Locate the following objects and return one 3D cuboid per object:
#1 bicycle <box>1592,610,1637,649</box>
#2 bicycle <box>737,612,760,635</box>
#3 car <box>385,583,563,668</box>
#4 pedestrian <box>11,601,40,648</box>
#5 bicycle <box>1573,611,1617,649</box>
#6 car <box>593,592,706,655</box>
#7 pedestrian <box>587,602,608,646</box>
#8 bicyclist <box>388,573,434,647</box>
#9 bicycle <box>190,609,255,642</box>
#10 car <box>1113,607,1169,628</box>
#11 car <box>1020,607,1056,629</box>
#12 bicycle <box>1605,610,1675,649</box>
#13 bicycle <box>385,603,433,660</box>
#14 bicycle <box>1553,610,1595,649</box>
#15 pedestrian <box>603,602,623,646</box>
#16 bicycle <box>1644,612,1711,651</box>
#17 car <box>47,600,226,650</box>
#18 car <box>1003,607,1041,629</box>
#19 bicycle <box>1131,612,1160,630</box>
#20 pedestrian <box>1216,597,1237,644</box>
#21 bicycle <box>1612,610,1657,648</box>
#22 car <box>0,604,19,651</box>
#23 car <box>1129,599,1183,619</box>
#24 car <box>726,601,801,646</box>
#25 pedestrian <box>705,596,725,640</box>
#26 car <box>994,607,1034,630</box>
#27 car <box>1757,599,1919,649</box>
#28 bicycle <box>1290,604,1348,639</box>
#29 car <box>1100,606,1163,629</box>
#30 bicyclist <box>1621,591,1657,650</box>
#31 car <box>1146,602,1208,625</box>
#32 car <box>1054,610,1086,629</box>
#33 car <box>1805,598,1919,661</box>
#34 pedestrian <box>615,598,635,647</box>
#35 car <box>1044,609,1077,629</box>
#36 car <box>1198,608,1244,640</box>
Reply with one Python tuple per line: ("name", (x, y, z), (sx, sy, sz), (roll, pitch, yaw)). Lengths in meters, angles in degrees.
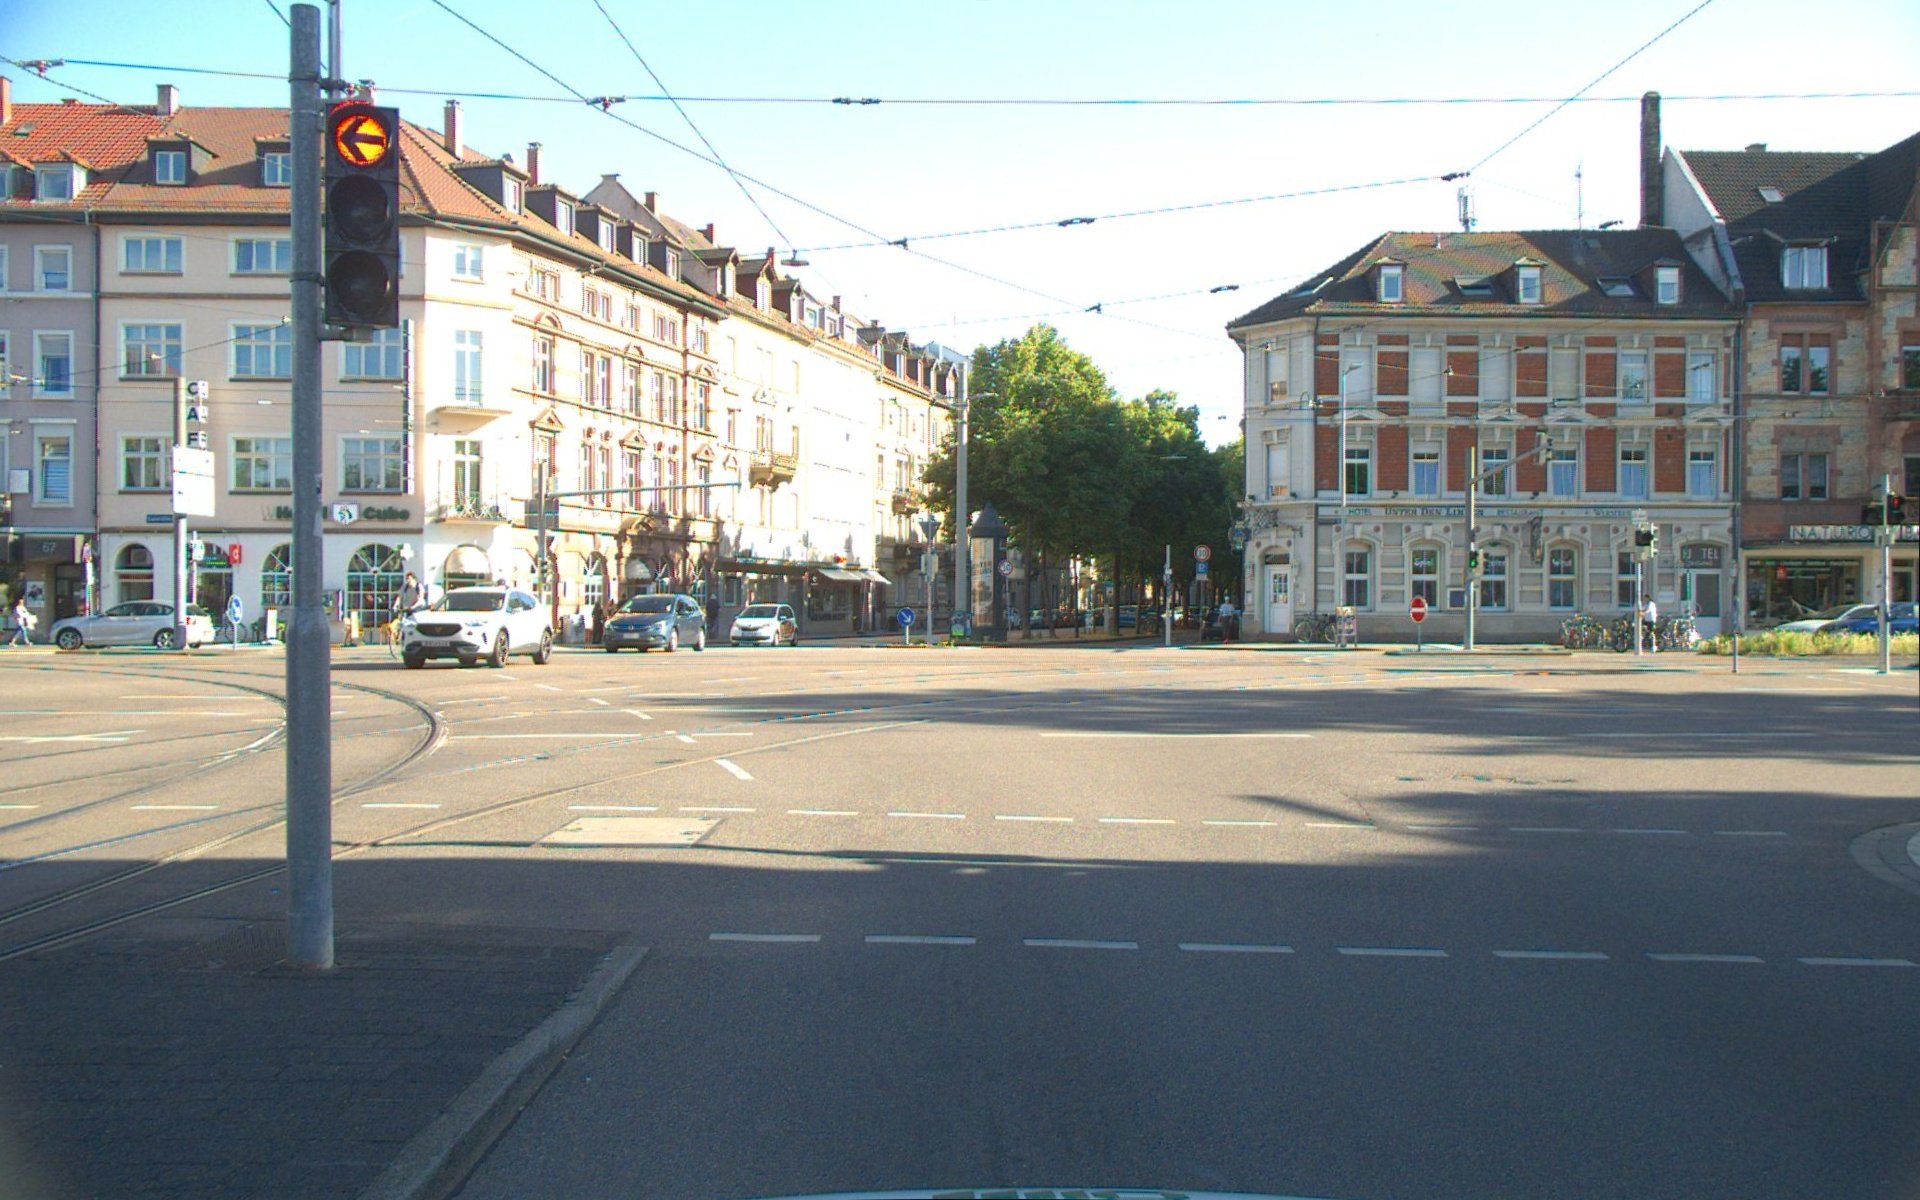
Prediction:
("bicycle", (21.153, 0.939, 53.489), (0.663, 1.211, 1.967), (0, 0, 0))
("bicycle", (-10.139, 1.128, 79.372), (0.484, 1.086, 1.771), (0, 0, 15))
("car", (-9.211, 0.445, 31.718), (1.952, 1.523, 4.349), (0, 0, 3))
("pedestrian", (-31.361, 0.811, 55.526), (0.645, 1.551, 0.694), (0, 0, -8))
("bicycle", (20.515, 0.957, 53.479), (0.663, 1.211, 1.967), (0, 0, 0))
("car", (-7.900, 0.567, 42.533), (1.736, 1.523, 4.576), (0, 0, 4))
("pedestrian", (-13.864, 0.904, 63.281), (0.613, 1.670, 0.538), (0, 0, 12))
("bicyclist", (-11.947, 0.222, 36.020), (0.700, 1.587, 0.986), (0, 0, -3))
("bicycle", (-25.052, 0.855, 56.217), (1.906, 1.086, 0.582), (0, 0, -8))
("car", (14.060, 1.323, 128.491), (3.910, 1.572, 1.998), (0, 0, 28))
("car", (5.786, 1.311, 122.656), (1.951, 1.523, 4.037), (0, 0, 13))
("bicycle", (21.056, 0.905, 51.231), (1.920, 1.211, 0.602), (0, 0, 2))
("bicycle", (-11.957, 0.668, 35.933), (0.475, 1.186, 2.055), (0, 0, -3))
("bicycle", (19.826, 0.929, 53.442), (0.663, 1.211, 1.967), (0, 0, 0))
("pedestrian", (-13.169, 0.909, 62.766), (0.539, 1.670, 0.633), (0, 0, 16))
("bicycle", (23.037, 1.004, 53.112), (1.926, 1.211, 0.677), (0, 0, -13))
("car", (-23.391, 0.704, 47.113), (4.127, 1.379, 1.997), (0, 0, -7))
("car", (4.441, 1.262, 117.400), (1.951, 1.523, 4.037), (0, 0, 13))
("bicycle", (11.156, 1.268, 99.392), (0.577, 1.086, 1.924), (0, 0, -37))
("pedestrian", (9.833, 0.753, 60.999), (0.700, 1.698, 0.940), (0, 0, 11))
("bicycle", (21.815, 0.923, 53.492), (0.663, 1.211, 1.967), (0, 0, 0))
("car", (-32.484, 0.869, 52.136), (4.547, 1.465, 1.743), (0, -1, -4))
("car", (15.929, 0.721, 134.400), (3.910, 1.572, 1.998), (0, 0, 28))
("car", (-6.841, 0.791, 57.819), (1.681, 1.523, 3.587), (0, 0, 9))
("pedestrian", (-10.884, 0.813, 73.421), (0.667, 1.942, 0.633), (0, 0, 15))
("car", (3.695, 1.230, 112.902), (1.951, 1.523, 4.037), (0, 0, 13))
("car", (25.961, 0.707, 48.938), (3.906, 1.437, 1.845), (0, 0, -2))
("bicycle", (12.452, 0.739, 57.346), (1.919, 1.211, 0.546), (0, 0, 4))
("car", (12.024, 1.211, 115.821), (3.910, 1.572, 1.998), (0, 0, 28))
("bicyclist", (21.029, 0.632, 51.232), (0.854, 1.795, 0.602), (0, 0, 2))
("car", (15.298, 0.952, 116.771), (3.913, 1.572, 1.996), (0, 0, 30))
("car", (9.104, 1.611, 136.638), (1.951, 1.523, 4.037), (0, 0, 13))
("car", (25.909, 0.796, 45.942), (3.906, 1.697, 1.954), (0, 0, -2))
("pedestrian", (-12.954, 0.865, 63.973), (0.567, 1.868, 0.633), (0, 0, 15))
("car", (8.005, 1.497, 131.891), (1.951, 1.523, 4.037), (0, 0, 13))
("car", (13.066, 1.164, 82.588), (1.951, 1.523, 4.037), (0, 0, 13))
